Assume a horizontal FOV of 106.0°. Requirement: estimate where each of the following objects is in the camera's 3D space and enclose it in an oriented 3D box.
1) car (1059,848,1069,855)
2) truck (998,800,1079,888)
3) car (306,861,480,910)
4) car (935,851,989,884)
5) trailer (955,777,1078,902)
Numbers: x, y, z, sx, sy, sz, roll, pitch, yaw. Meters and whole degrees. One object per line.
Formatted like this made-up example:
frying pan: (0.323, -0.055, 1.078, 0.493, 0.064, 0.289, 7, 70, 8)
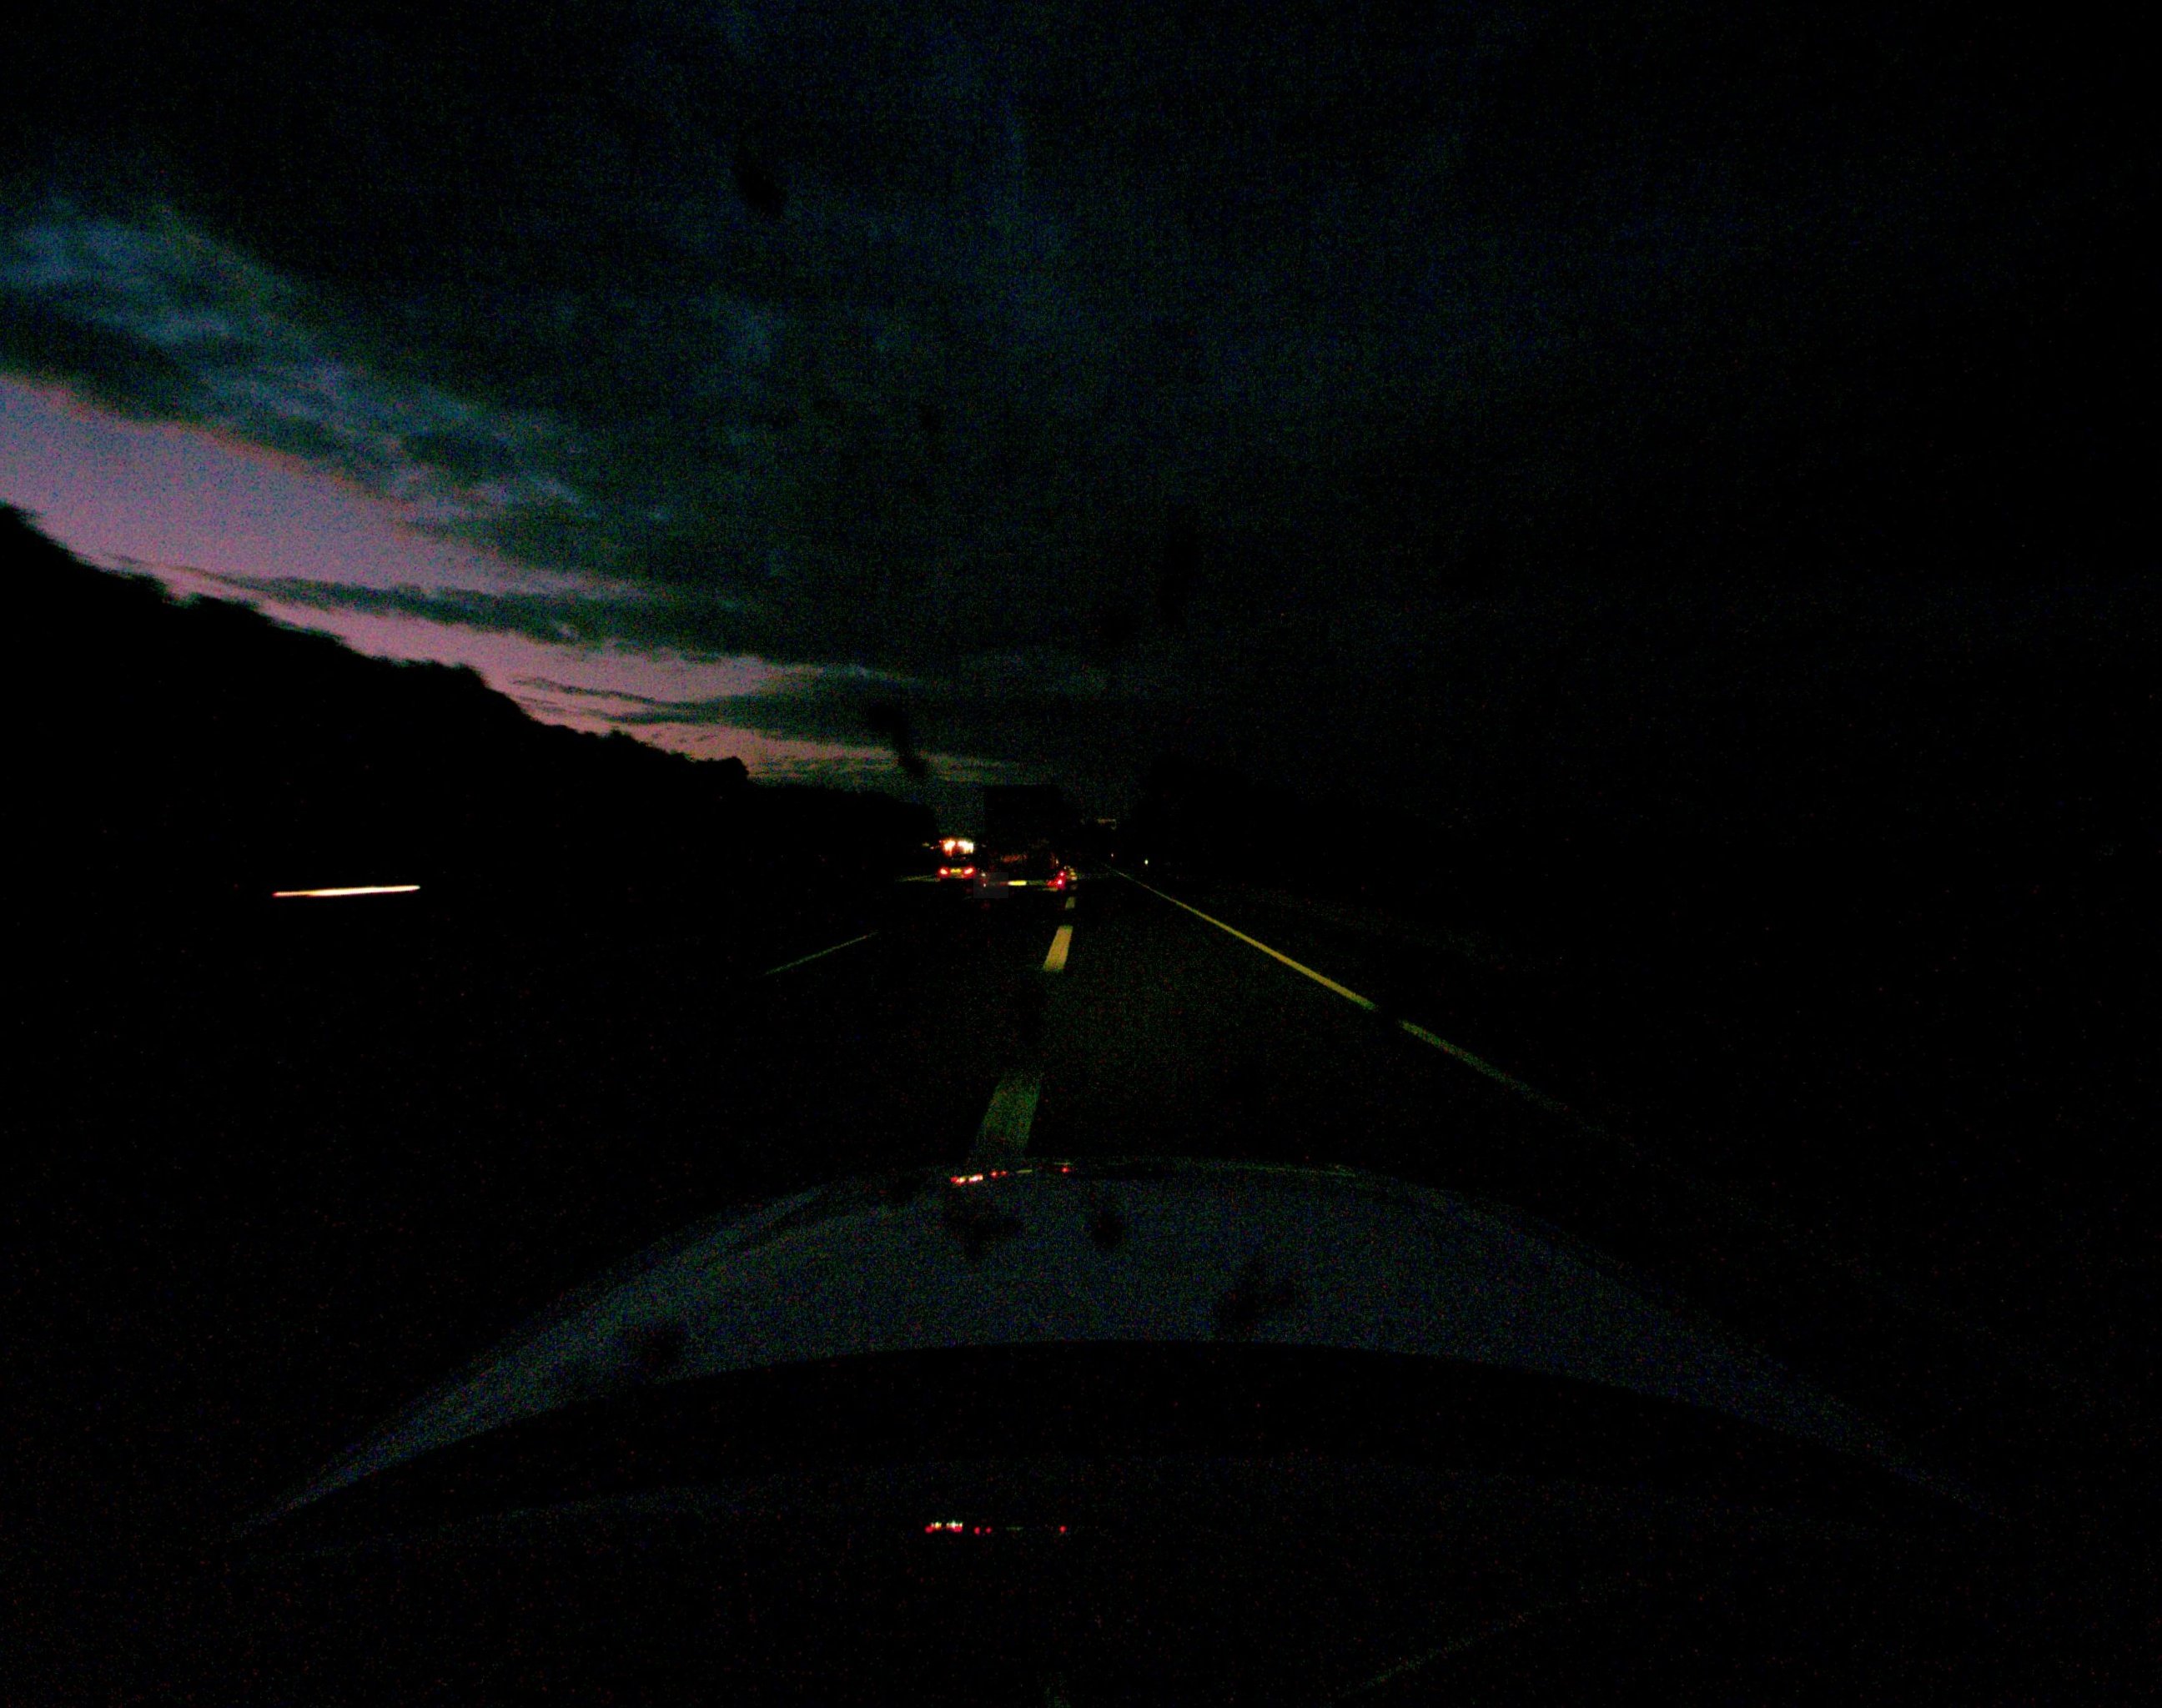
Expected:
car: (-3.813, -0.611, 185.542, 1.990, 1.354, 3.992, 0, -2, -5)
truck: (-2.003, -0.463, 41.646, 3.537, 4.091, 6.153, -1, 0, 2)
car: (-21.896, 0.948, 26.190, 1.986, 1.419, 4.152, 0, 0, 1)
car: (-6.268, 0.752, 43.262, 1.898, 1.614, 4.807, 0, -2, 3)
trailer: (-2.191, -0.464, 34.989, 3.537, 4.116, 15.069, -1, 0, 2)
